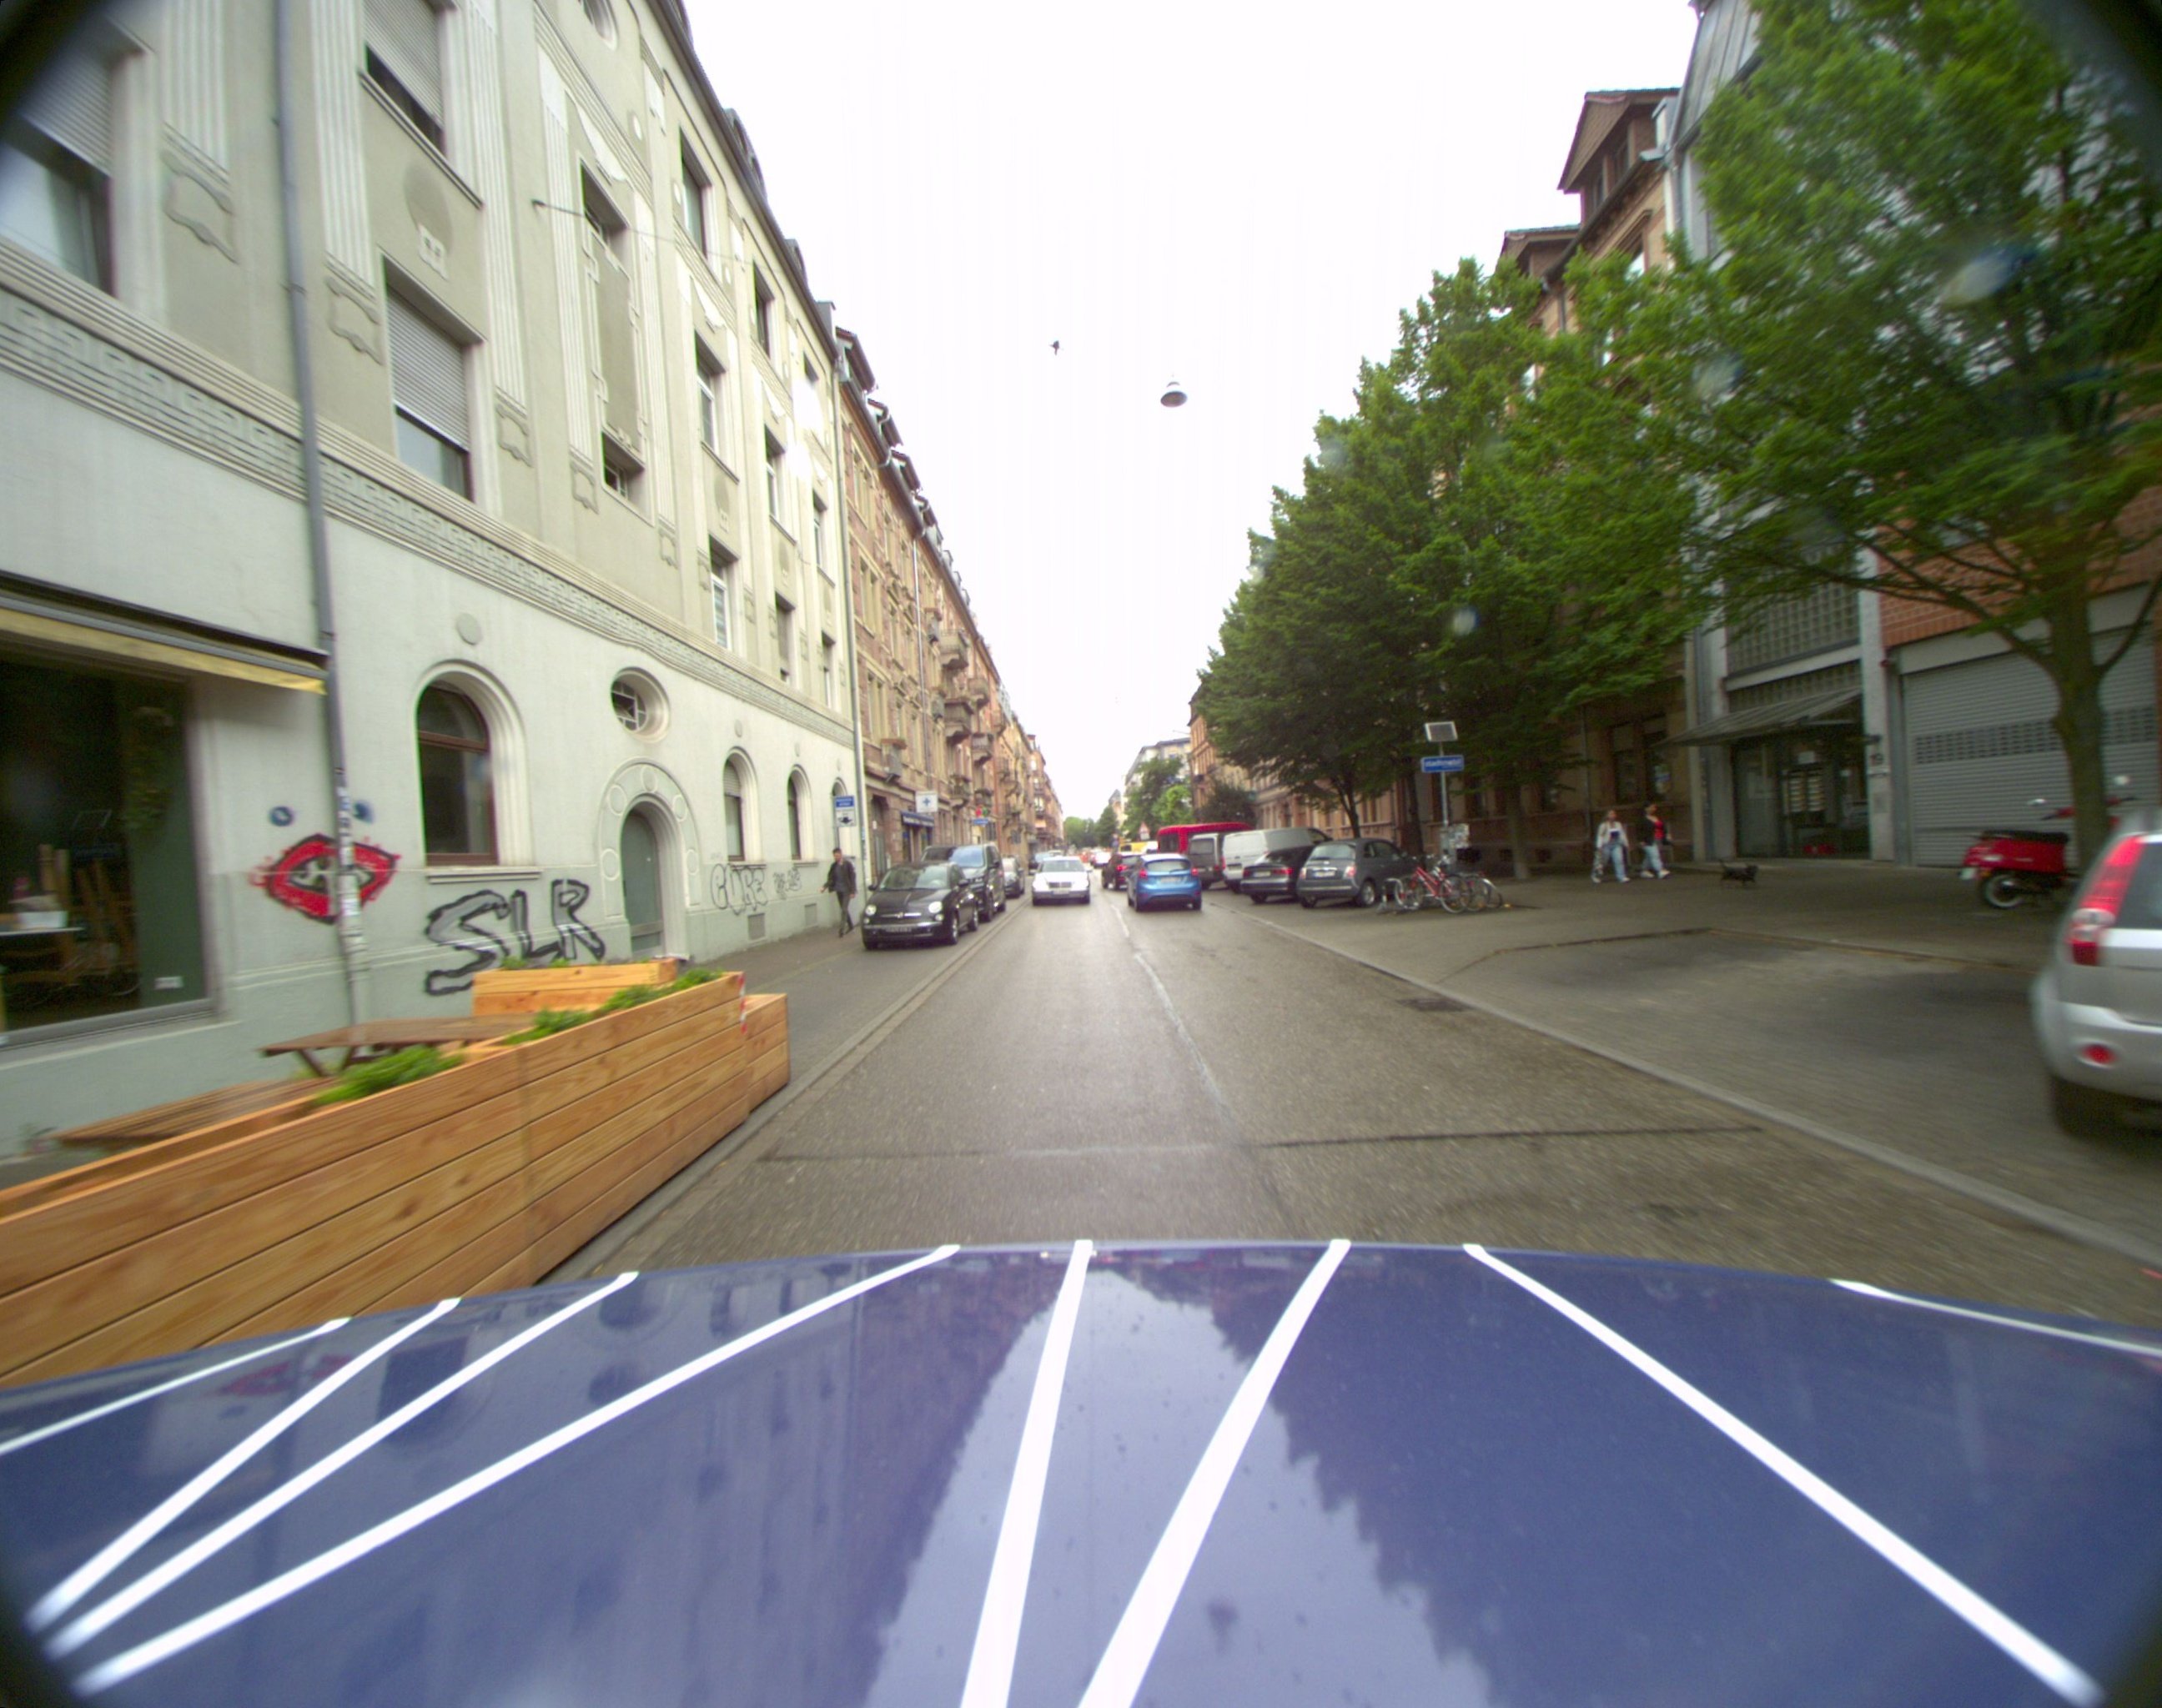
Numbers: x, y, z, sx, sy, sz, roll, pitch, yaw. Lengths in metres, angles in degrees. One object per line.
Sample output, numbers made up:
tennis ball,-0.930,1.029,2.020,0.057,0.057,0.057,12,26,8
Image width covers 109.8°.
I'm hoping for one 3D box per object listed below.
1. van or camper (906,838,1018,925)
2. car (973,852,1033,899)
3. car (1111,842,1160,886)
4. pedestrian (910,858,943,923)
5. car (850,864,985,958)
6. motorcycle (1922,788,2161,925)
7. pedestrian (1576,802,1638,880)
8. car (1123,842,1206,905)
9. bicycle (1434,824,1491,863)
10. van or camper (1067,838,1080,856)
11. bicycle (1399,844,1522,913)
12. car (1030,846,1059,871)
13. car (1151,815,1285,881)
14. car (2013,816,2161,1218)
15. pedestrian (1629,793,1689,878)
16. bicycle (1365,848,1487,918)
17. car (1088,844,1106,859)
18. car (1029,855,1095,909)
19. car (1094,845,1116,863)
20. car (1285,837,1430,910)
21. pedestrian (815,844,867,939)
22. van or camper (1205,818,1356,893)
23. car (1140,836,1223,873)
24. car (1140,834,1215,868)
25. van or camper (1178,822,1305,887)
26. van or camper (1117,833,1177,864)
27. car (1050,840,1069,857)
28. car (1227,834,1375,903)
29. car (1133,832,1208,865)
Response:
van or camper,-2.868,0.586,19.533,2.026,1.880,5.054,-2,1,0
car,-2.896,0.742,28.976,1.846,1.536,4.002,-3,1,-1
car,2.291,0.356,31.127,1.673,1.550,4.005,-3,1,8
pedestrian,-4.909,1.163,24.191,0.827,2.003,0.415,-3,3,1
car,-2.925,0.962,14.370,1.714,1.392,3.704,-2,1,0
motorcycle,10.657,0.022,8.349,1.886,1.218,0.656,-8,1,4
pedestrian,10.687,-0.263,15.447,0.690,1.488,0.587,-7,1,-5
car,2.125,0.450,20.428,1.674,1.457,4.002,-3,1,-1
bicycle,12.981,-0.347,25.939,0.669,1.186,2.412,-7,1,1
van or camper,-1.542,-1.363,150.984,2.411,3.308,7.072,-4,0,-1
bicycle,7.121,0.458,14.396,0.784,1.151,2.144,-4,0,-16
car,-2.752,0.288,58.598,1.999,1.769,4.825,-3,1,-1
car,6.172,-0.290,34.185,5.580,2.526,2.225,-4,1,-27
car,5.791,0.545,3.449,3.720,1.443,1.681,-3,1,-35
pedestrian,11.440,-0.353,15.045,0.568,1.593,0.589,-7,1,-5
bicycle,6.364,0.533,14.177,0.751,1.151,2.217,-4,0,-16
car,1.854,-0.304,89.999,1.863,1.650,5.007,-3,0,0
car,-0.639,0.831,24.807,1.859,1.391,4.978,-4,1,-2
car,2.244,-0.001,72.903,1.800,1.485,4.583,-4,-1,-1
car,6.444,0.394,17.554,3.487,1.427,1.647,-3,1,-42
pedestrian,-5.093,0.792,16.156,0.827,1.941,0.415,-3,3,1
van or camper,6.514,0.009,24.513,4.705,1.941,2.331,-6,1,-41
car,5.924,0.028,44.894,4.449,1.621,1.841,-7,1,-26
car,6.414,-0.182,51.114,4.590,1.775,2.545,-6,1,0
van or camper,5.894,-0.001,27.706,4.454,1.964,1.777,-5,2,-33
van or camper,5.896,-0.526,67.878,4.732,2.255,2.180,-6,1,-32
car,-2.554,-0.674,89.100,1.999,1.928,5.228,-2,1,-2
car,5.925,0.354,20.248,3.985,1.439,1.763,-6,1,-40
car,6.718,-0.392,56.769,5.258,2.067,1.866,-5,2,-24
